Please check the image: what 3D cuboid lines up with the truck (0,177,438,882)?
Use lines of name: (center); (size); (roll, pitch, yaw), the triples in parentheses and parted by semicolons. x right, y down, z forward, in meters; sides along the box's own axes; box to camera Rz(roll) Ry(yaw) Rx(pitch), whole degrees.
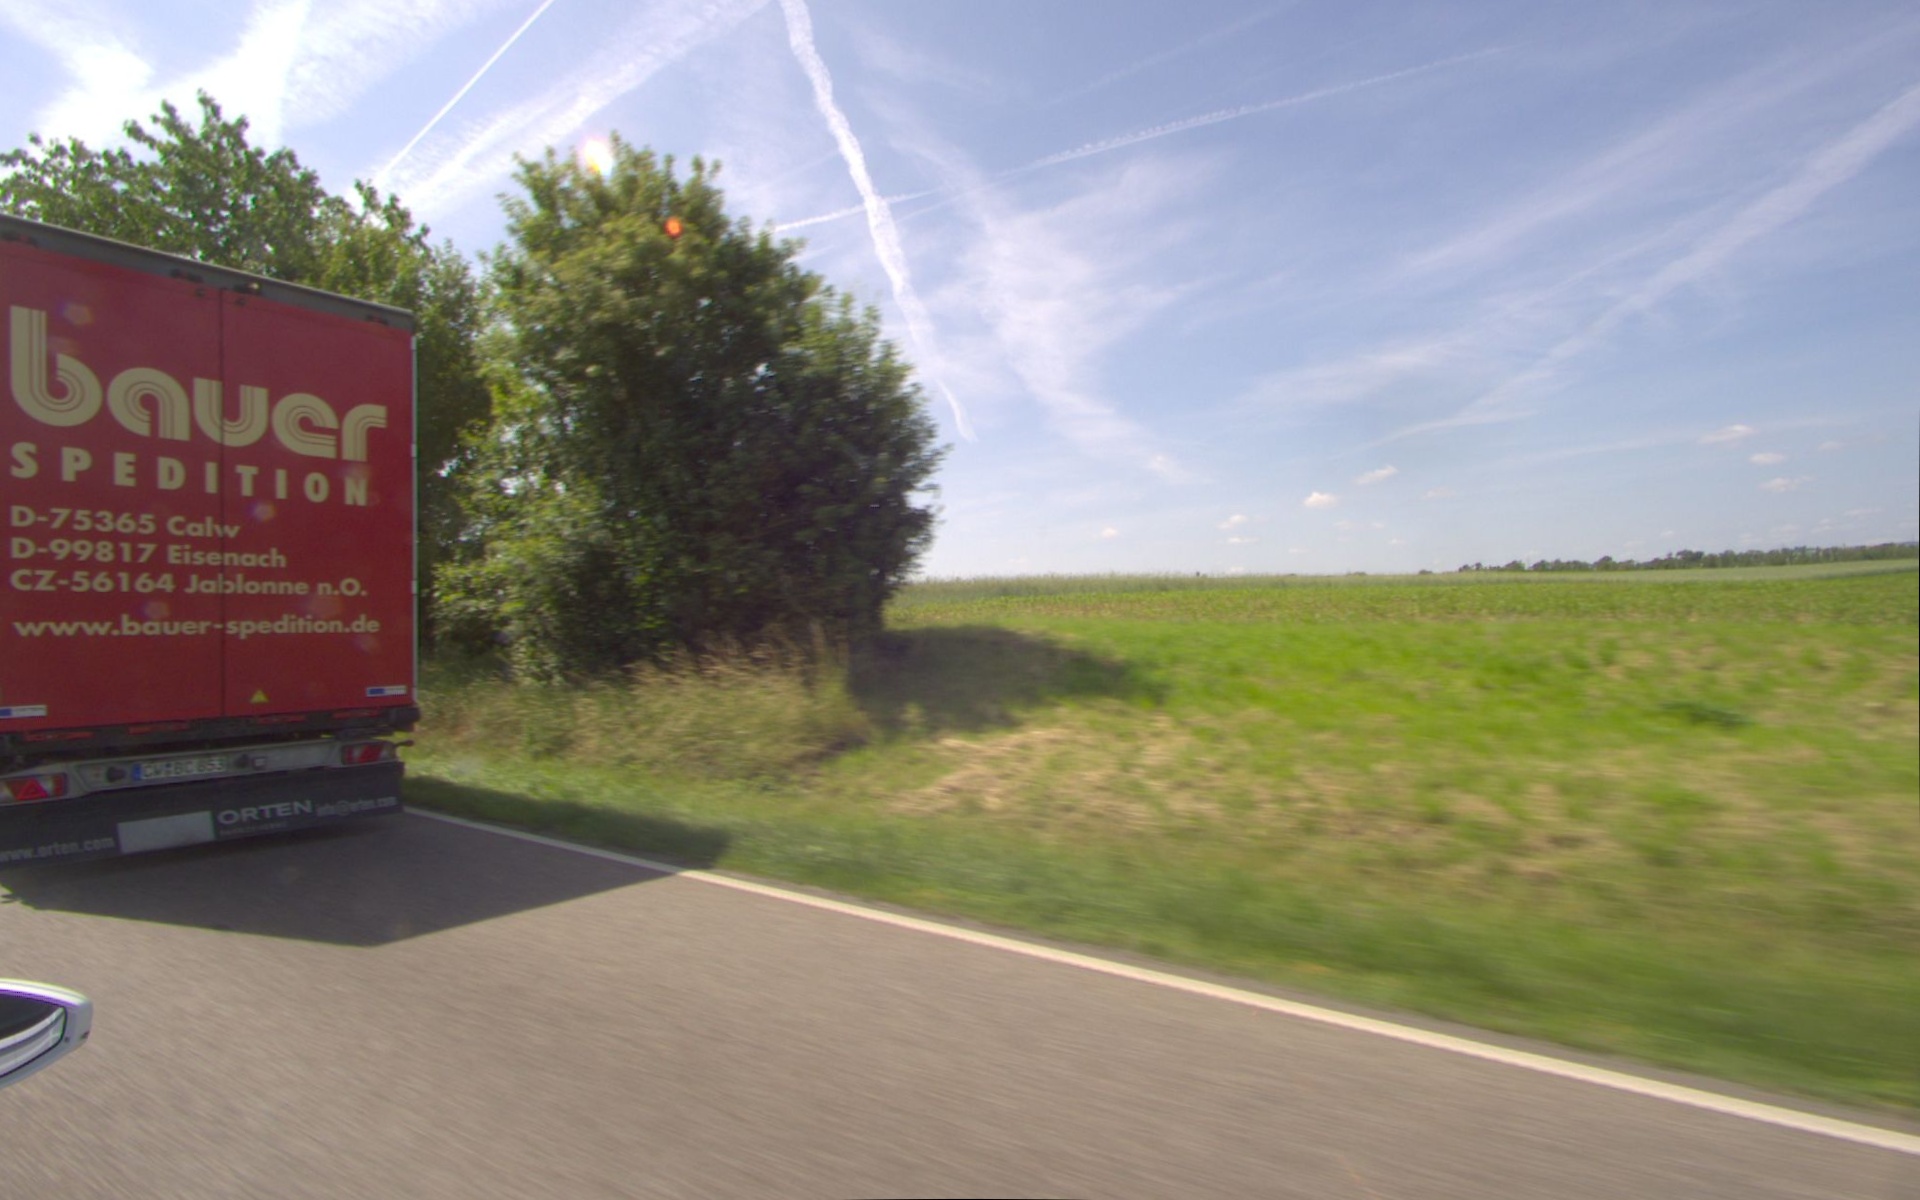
truck: (-11.645, -0.207, 11.933); (16.504, 4.233, 2.997); (-2, -2, 38)
